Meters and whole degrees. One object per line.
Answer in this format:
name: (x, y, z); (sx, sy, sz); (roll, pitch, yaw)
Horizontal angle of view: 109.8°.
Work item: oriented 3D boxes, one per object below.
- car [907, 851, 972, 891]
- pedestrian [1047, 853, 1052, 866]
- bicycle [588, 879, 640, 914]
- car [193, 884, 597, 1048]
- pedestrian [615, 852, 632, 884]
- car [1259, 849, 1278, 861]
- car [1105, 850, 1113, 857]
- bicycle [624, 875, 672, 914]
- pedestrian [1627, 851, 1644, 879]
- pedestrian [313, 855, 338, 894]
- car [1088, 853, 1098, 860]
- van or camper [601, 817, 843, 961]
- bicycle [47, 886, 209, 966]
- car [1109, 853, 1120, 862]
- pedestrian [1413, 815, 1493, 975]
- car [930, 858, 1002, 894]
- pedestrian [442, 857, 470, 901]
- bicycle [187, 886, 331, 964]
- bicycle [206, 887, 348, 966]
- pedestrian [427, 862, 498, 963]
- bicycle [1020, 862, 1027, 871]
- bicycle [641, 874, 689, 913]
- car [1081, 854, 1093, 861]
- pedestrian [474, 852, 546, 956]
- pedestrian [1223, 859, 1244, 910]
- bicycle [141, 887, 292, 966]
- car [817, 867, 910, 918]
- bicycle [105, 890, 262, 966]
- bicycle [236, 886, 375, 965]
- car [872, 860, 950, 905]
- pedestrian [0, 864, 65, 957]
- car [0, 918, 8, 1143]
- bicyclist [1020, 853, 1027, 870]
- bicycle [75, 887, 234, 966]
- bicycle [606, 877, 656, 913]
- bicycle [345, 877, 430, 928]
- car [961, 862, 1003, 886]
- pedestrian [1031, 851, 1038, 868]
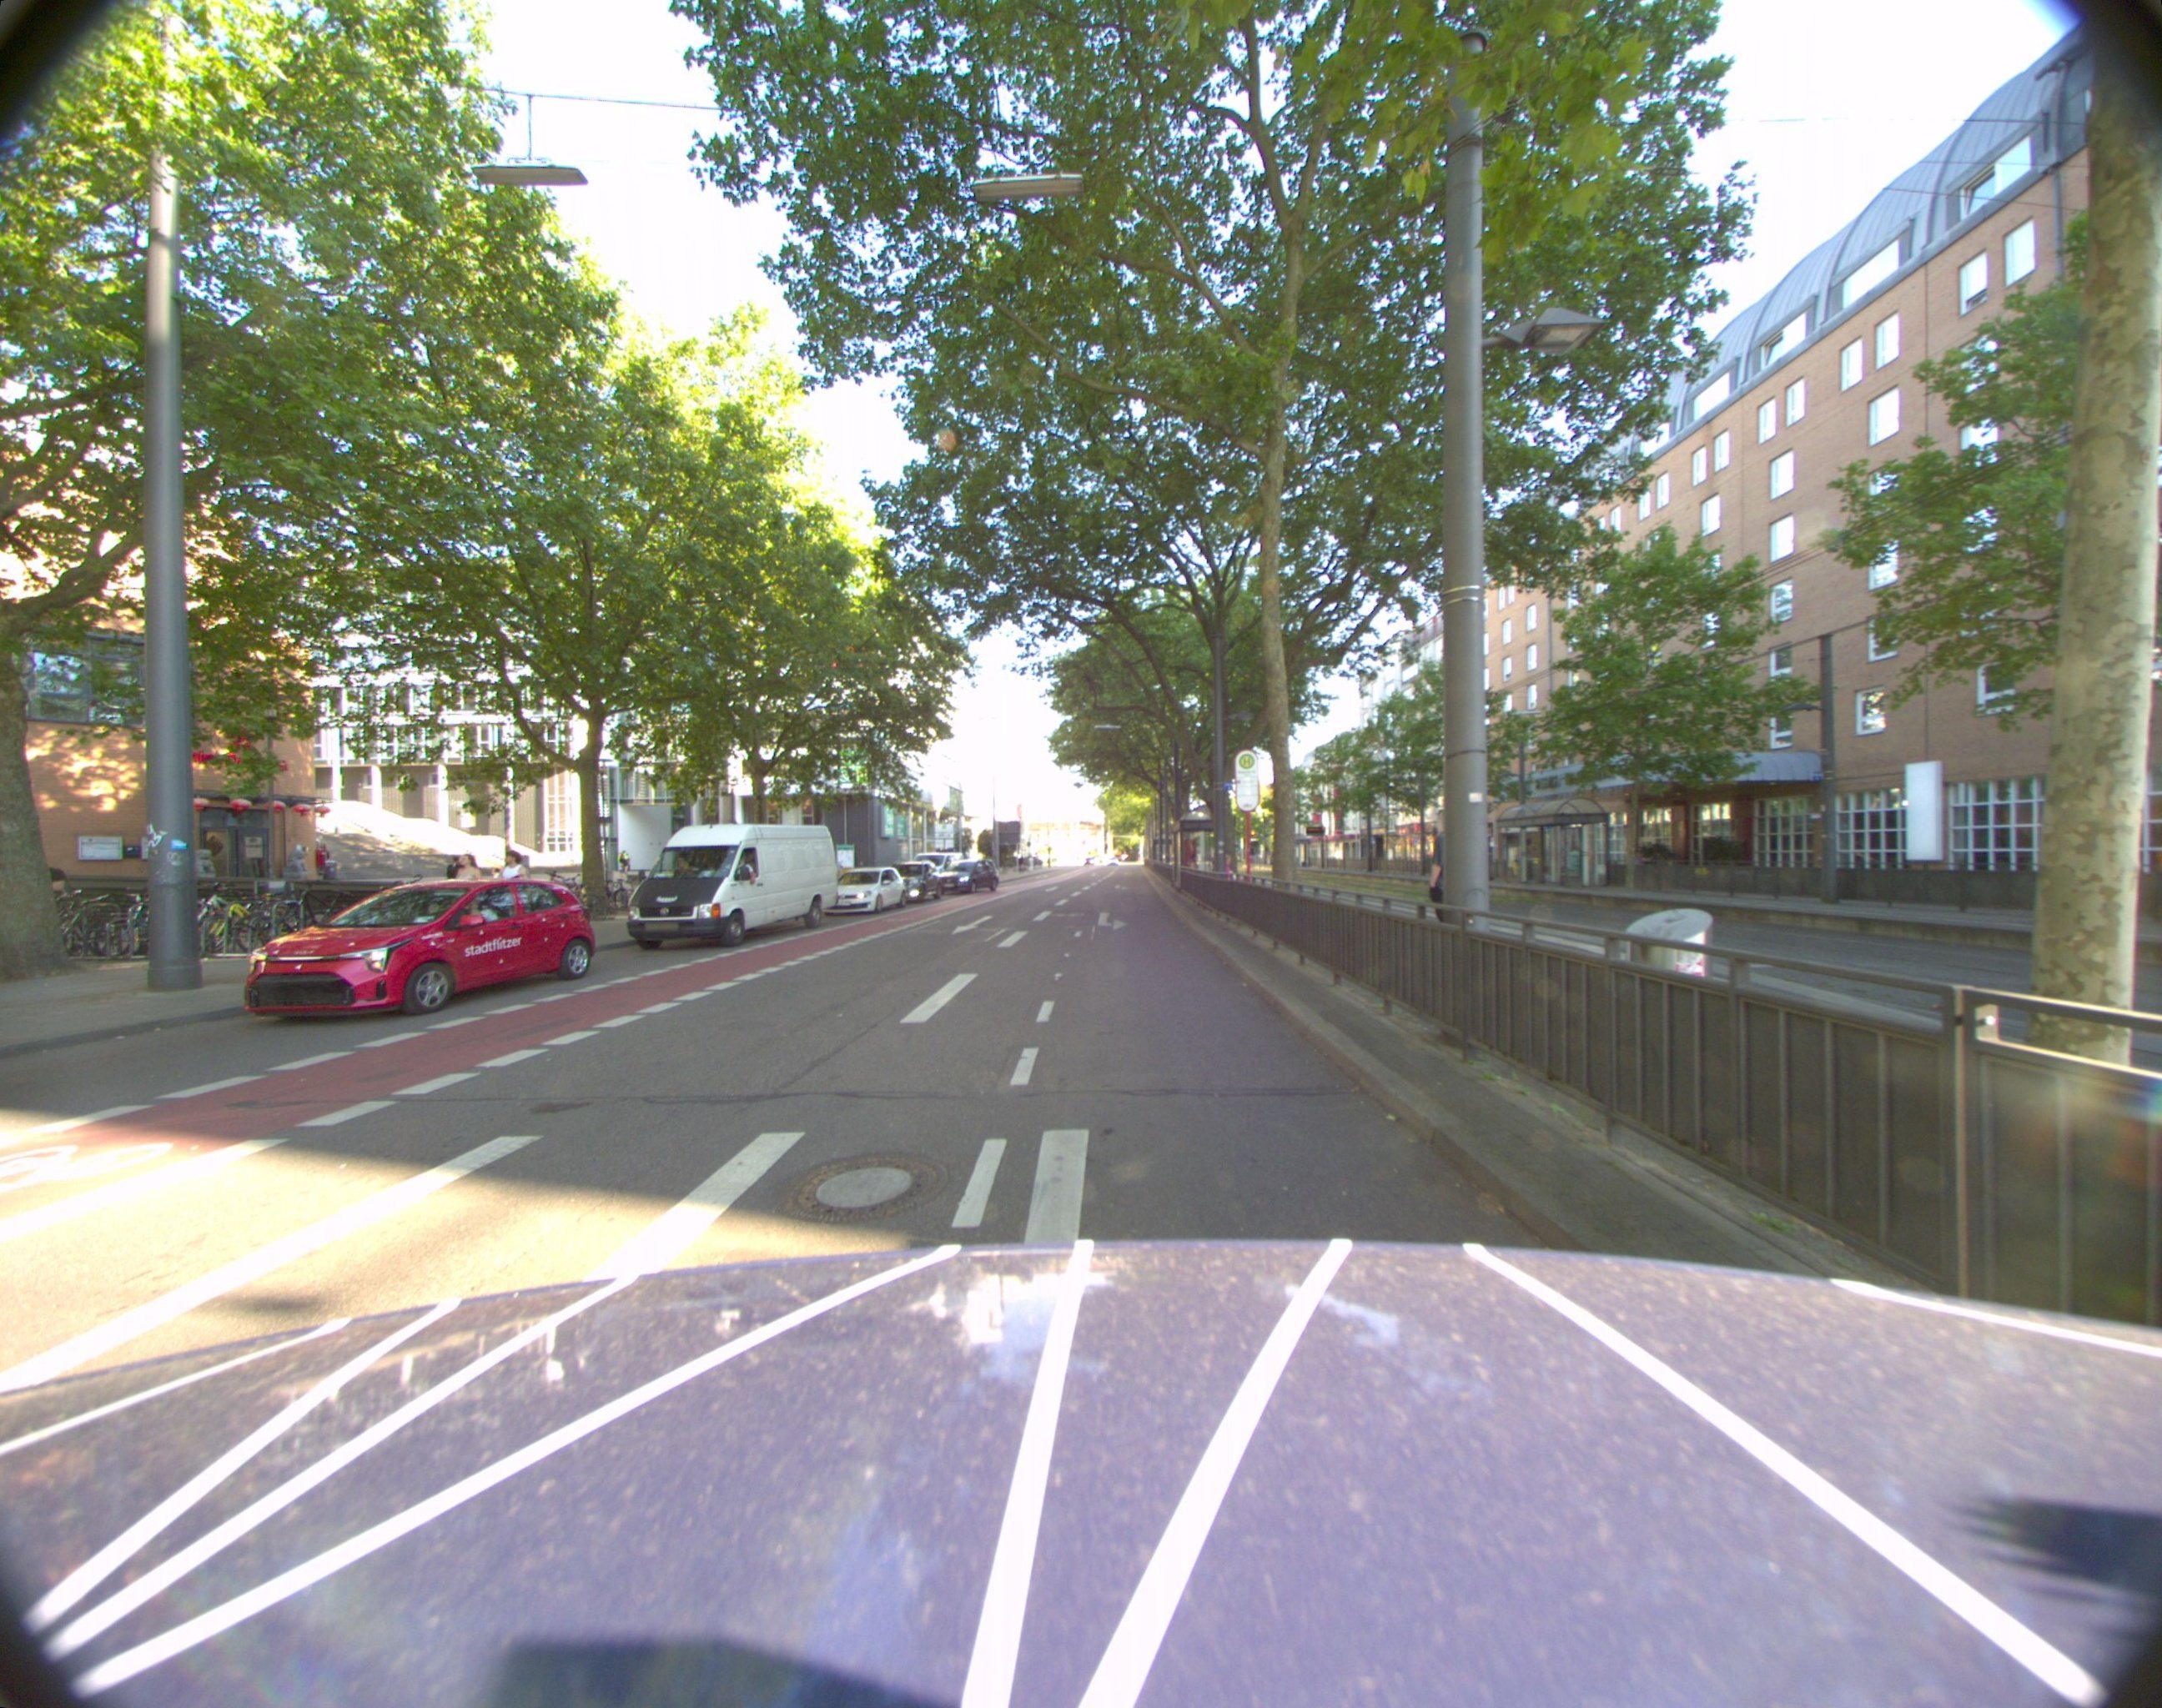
car: (-7.470, 0.862, 40.587); (1.965, 1.983, 4.960); (-1, 0, 7)
pedestrian: (-4.526, 0.792, 109.813); (0.676, 1.853, 0.741); (-2, 1, 1)
bicycle: (-15.223, 1.365, 24.800); (0.516, 1.027, 1.850); (0, 0, 1)
car: (-7.947, 1.178, 9.343); (1.606, 1.449, 3.651); (-1, 0, 0)
pedestrian: (-30.642, 0.933, 50.920); (0.836, 2.144, 0.858); (-1, 1, -23)
car: (28.175, 0.187, 114.292); (1.998, 1.696, 4.000); (-1, 0, 1)
car: (7.472, -0.148, 205.292); (1.998, 2.002, 4.001); (0, 0, 4)
bicycle: (-14.118, 1.298, 24.826); (0.495, 1.187, 1.850); (0, 0, 1)
pedestrian: (28.437, 0.569, 38.978); (0.519, 1.427, 0.516); (0, 1, 4)
pedestrian: (-39.862, 1.047, 40.096); (0.878, 2.025, 0.584); (-1, 1, -43)
car: (2.481, 0.550, 152.971); (1.801, 1.438, 4.001); (-1, 0, 3)
van or camper: (-7.553, 0.631, 17.092); (1.998, 2.563, 6.575); (-2, 0, 3)
bicycle: (-16.390, 1.198, 13.144); (0.435, 1.187, 1.850); (0, 0, 1)
car: (5.648, 0.547, 129.132); (1.733, 1.432, 4.000); (-1, 0, 2)
pedestrian: (4.518, 0.472, 9.263); (0.607, 1.873, 0.622); (-2, 3, -17)
car: (-5.535, 1.015, 37.107); (1.964, 1.610, 4.335); (-1, 0, 14)
pedestrian: (-22.499, 0.875, 27.351); (0.719, 1.549, 0.639); (-1, 1, -35)
bicycle: (-14.329, 1.200, 13.330); (0.484, 1.187, 1.850); (0, 0, 1)
bicycle: (-13.823, 1.204, 13.140); (0.448, 1.187, 1.850); (0, 0, 1)
pedestrian: (-11.222, 1.035, 13.801); (0.648, 1.766, 0.764); (-1, 0, -6)
bicycle: (-5.864, 1.269, 77.229); (0.580, 0.879, 1.671); (-1, 0, 1)
bicycle: (-13.575, 1.268, 24.847); (0.522, 1.187, 1.850); (0, 0, 1)
car: (1.113, 0.649, 138.796); (1.801, 1.369, 4.001); (-1, 0, 3)
pedestrian: (-10.525, 0.904, 14.028); (0.643, 1.834, 0.814); (3, 0, -4)
pedestrian: (3.929, 0.778, 19.629); (0.500, 1.308, 0.419); (0, 1, 8)
bicycle: (-14.845, 1.199, 13.130); (0.447, 1.187, 1.850); (0, 0, 1)
car: (-7.028, 1.188, 24.956); (1.682, 1.420, 4.001); (-1, 0, 3)
bicycle: (-15.428, 1.236, 13.139); (0.485, 1.118, 1.850); (0, 0, 1)
bicycle: (-13.320, 1.194, 13.134); (0.482, 1.187, 1.850); (0, 0, 1)
car: (-6.723, 1.084, 30.544); (1.818, 1.610, 4.229); (-1, 0, 5)
pedestrian: (-19.959, 1.041, 14.245); (0.807, 1.697, 0.716); (-1, 1, -24)
car: (-7.995, 1.174, 2.894); (1.743, 1.476, 4.251); (-1, 0, 0)
bicyclist: (-5.872, 0.754, 77.343); (0.673, 1.707, 0.715); (-1, 1, 1)
bicycle: (-15.927, 1.203, 13.141); (0.458, 1.187, 1.850); (0, 0, 1)
bicycle: (-14.662, 1.320, 24.824); (0.522, 1.088, 1.797); (0, 0, 1)
bicycle: (-17.838, 1.229, 19.596); (0.517, 1.187, 1.790); (0, 0, 1)
car: (-5.997, 1.177, 46.291); (1.801, 1.369, 4.001); (0, 0, 3)
pedestrian: (-5.171, 0.632, 84.053); (0.676, 1.853, 0.741); (-2, 1, 1)
